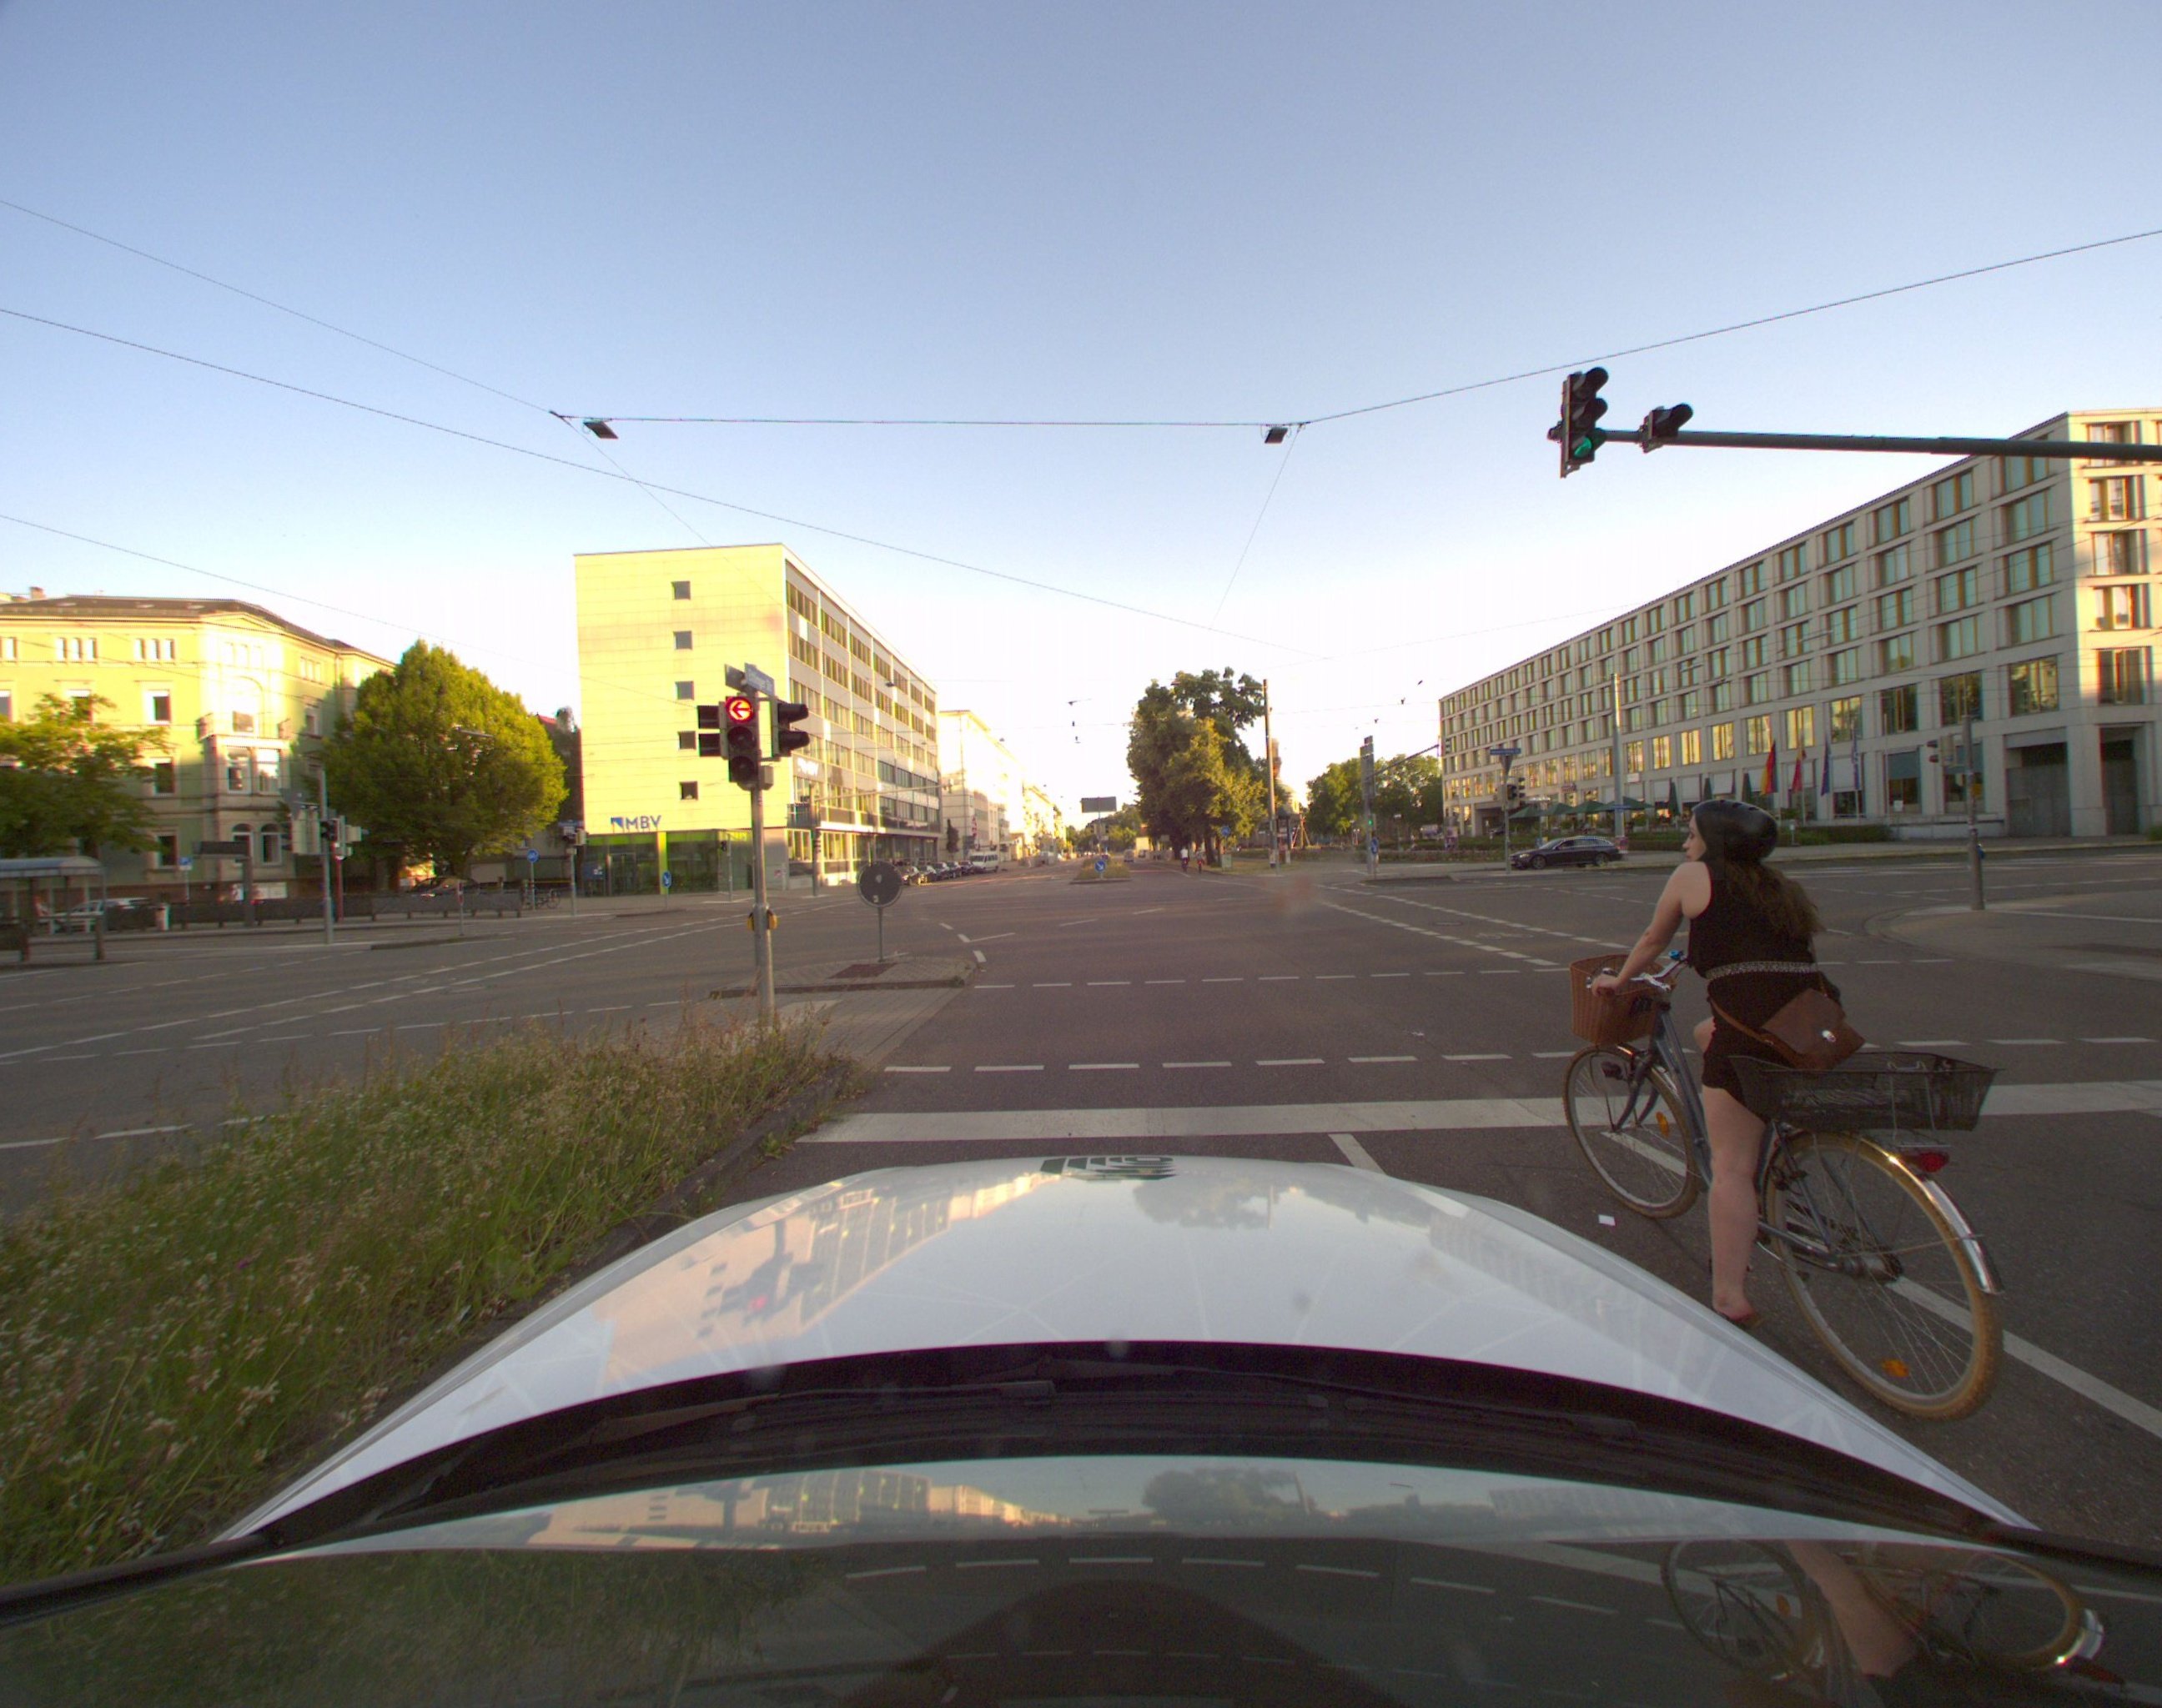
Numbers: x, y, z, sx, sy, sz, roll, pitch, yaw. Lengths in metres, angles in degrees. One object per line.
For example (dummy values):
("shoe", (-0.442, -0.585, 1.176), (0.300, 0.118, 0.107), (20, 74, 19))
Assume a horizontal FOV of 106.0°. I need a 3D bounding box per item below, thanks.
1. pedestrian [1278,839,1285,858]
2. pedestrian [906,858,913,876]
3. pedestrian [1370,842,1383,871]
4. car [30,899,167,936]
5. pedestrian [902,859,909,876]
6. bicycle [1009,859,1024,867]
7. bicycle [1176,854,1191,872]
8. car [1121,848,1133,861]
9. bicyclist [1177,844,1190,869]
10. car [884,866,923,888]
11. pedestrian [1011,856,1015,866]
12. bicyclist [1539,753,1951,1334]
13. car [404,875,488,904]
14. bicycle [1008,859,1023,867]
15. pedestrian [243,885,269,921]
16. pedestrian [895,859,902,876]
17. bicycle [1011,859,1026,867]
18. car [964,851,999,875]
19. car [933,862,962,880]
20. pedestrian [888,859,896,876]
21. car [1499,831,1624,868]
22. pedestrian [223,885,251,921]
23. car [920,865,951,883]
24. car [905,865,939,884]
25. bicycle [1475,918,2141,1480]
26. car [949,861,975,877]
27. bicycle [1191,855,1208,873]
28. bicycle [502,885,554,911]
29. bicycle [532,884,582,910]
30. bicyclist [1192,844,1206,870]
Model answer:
("pedestrian", (17.784, -0.456, 72.303), (0.458, 1.656, 0.567), (-3, 0, 1))
("pedestrian", (-16.516, 1.232, 78.411), (0.549, 1.679, 0.500), (-3, 0, 1))
("pedestrian", (15.932, 0.128, 43.844), (0.489, 1.540, 0.408), (-3, 0, 1))
("car", (-45.302, 2.891, 37.632), (3.588, 1.372, 1.833), (-3, 0, -15))
("pedestrian", (-17.058, 1.322, 79.119), (0.498, 1.679, 0.500), (-3, 0, 1))
("bicycle", (-10.094, 1.465, 127.554), (2.198, 1.112, 0.689), (-3, 0, 0))
("bicycle", (7.068, 0.617, 56.378), (0.744, 1.144, 2.506), (-3, 0, 2))
("car", (6.223, 0.077, 109.854), (1.403, 1.641, 4.000), (-3, 0, 1))
("bicyclist", (7.036, 0.188, 55.977), (0.744, 1.663, 0.873), (-3, 0, 1))
("car", (-13.566, 1.727, 62.364), (1.913, 1.464, 4.105), (-3, 0, 2))
("pedestrian", (-13.820, 1.392, 165.595), (0.677, 2.013, 0.545), (-3, 0, 1))
("bicyclist", (2.157, 0.537, 2.804), (0.597, 1.636, 0.999), (-1, 0, 2))
("car", (-35.466, 1.977, 45.613), (1.830, 1.372, 3.594), (-3, 0, 0))
("bicycle", (-10.073, 1.431, 125.861), (2.198, 1.112, 0.619), (-3, 0, 0))
("pedestrian", (-43.387, 2.572, 42.838), (0.641, 1.790, 0.720), (-3, 0, -12))
("pedestrian", (-17.685, 1.303, 78.958), (0.549, 1.679, 0.500), (-3, 0, 1))
("bicycle", (-9.931, 1.398, 129.320), (2.198, 1.236, 0.839), (-3, 0, 0))
("car", (-11.107, 0.955, 91.664), (1.988, 2.478, 5.888), (-3, 0, 12))
("car", (-12.918, 1.654, 79.010), (1.913, 1.568, 4.002), (-3, 0, 2))
("pedestrian", (-18.277, 1.305, 78.712), (0.549, 1.679, 0.500), (-3, 0, 1))
("car", (23.090, -0.208, 39.281), (4.803, 1.515, 2.002), (-3, 0, 3))
("pedestrian", (-43.525, 2.523, 42.009), (0.641, 1.790, 0.720), (-3, 0, -12))
("car", (-13.167, 1.760, 73.708), (1.913, 1.464, 4.002), (-3, 0, 2))
("car", (-13.372, 1.719, 68.895), (1.913, 1.464, 4.002), (-3, 0, 2))
("bicycle", (2.162, 0.878, 2.886), (0.609, 1.132, 2.005), (-1, 0, 2))
("car", (-12.453, 1.531, 85.233), (1.913, 1.568, 4.002), (-3, 0, 2))
("bicycle", (7.753, 0.634, 53.283), (0.744, 1.144, 2.506), (-3, 0, 2))
("bicycle", (-27.052, 2.122, 39.894), (0.832, 1.112, 2.216), (-3, 0, 6))
("bicycle", (-25.658, 2.107, 39.950), (0.832, 1.112, 2.216), (-3, 0, 6))
("bicyclist", (7.729, 0.194, 53.291), (0.744, 1.691, 0.799), (-3, 0, 1))
